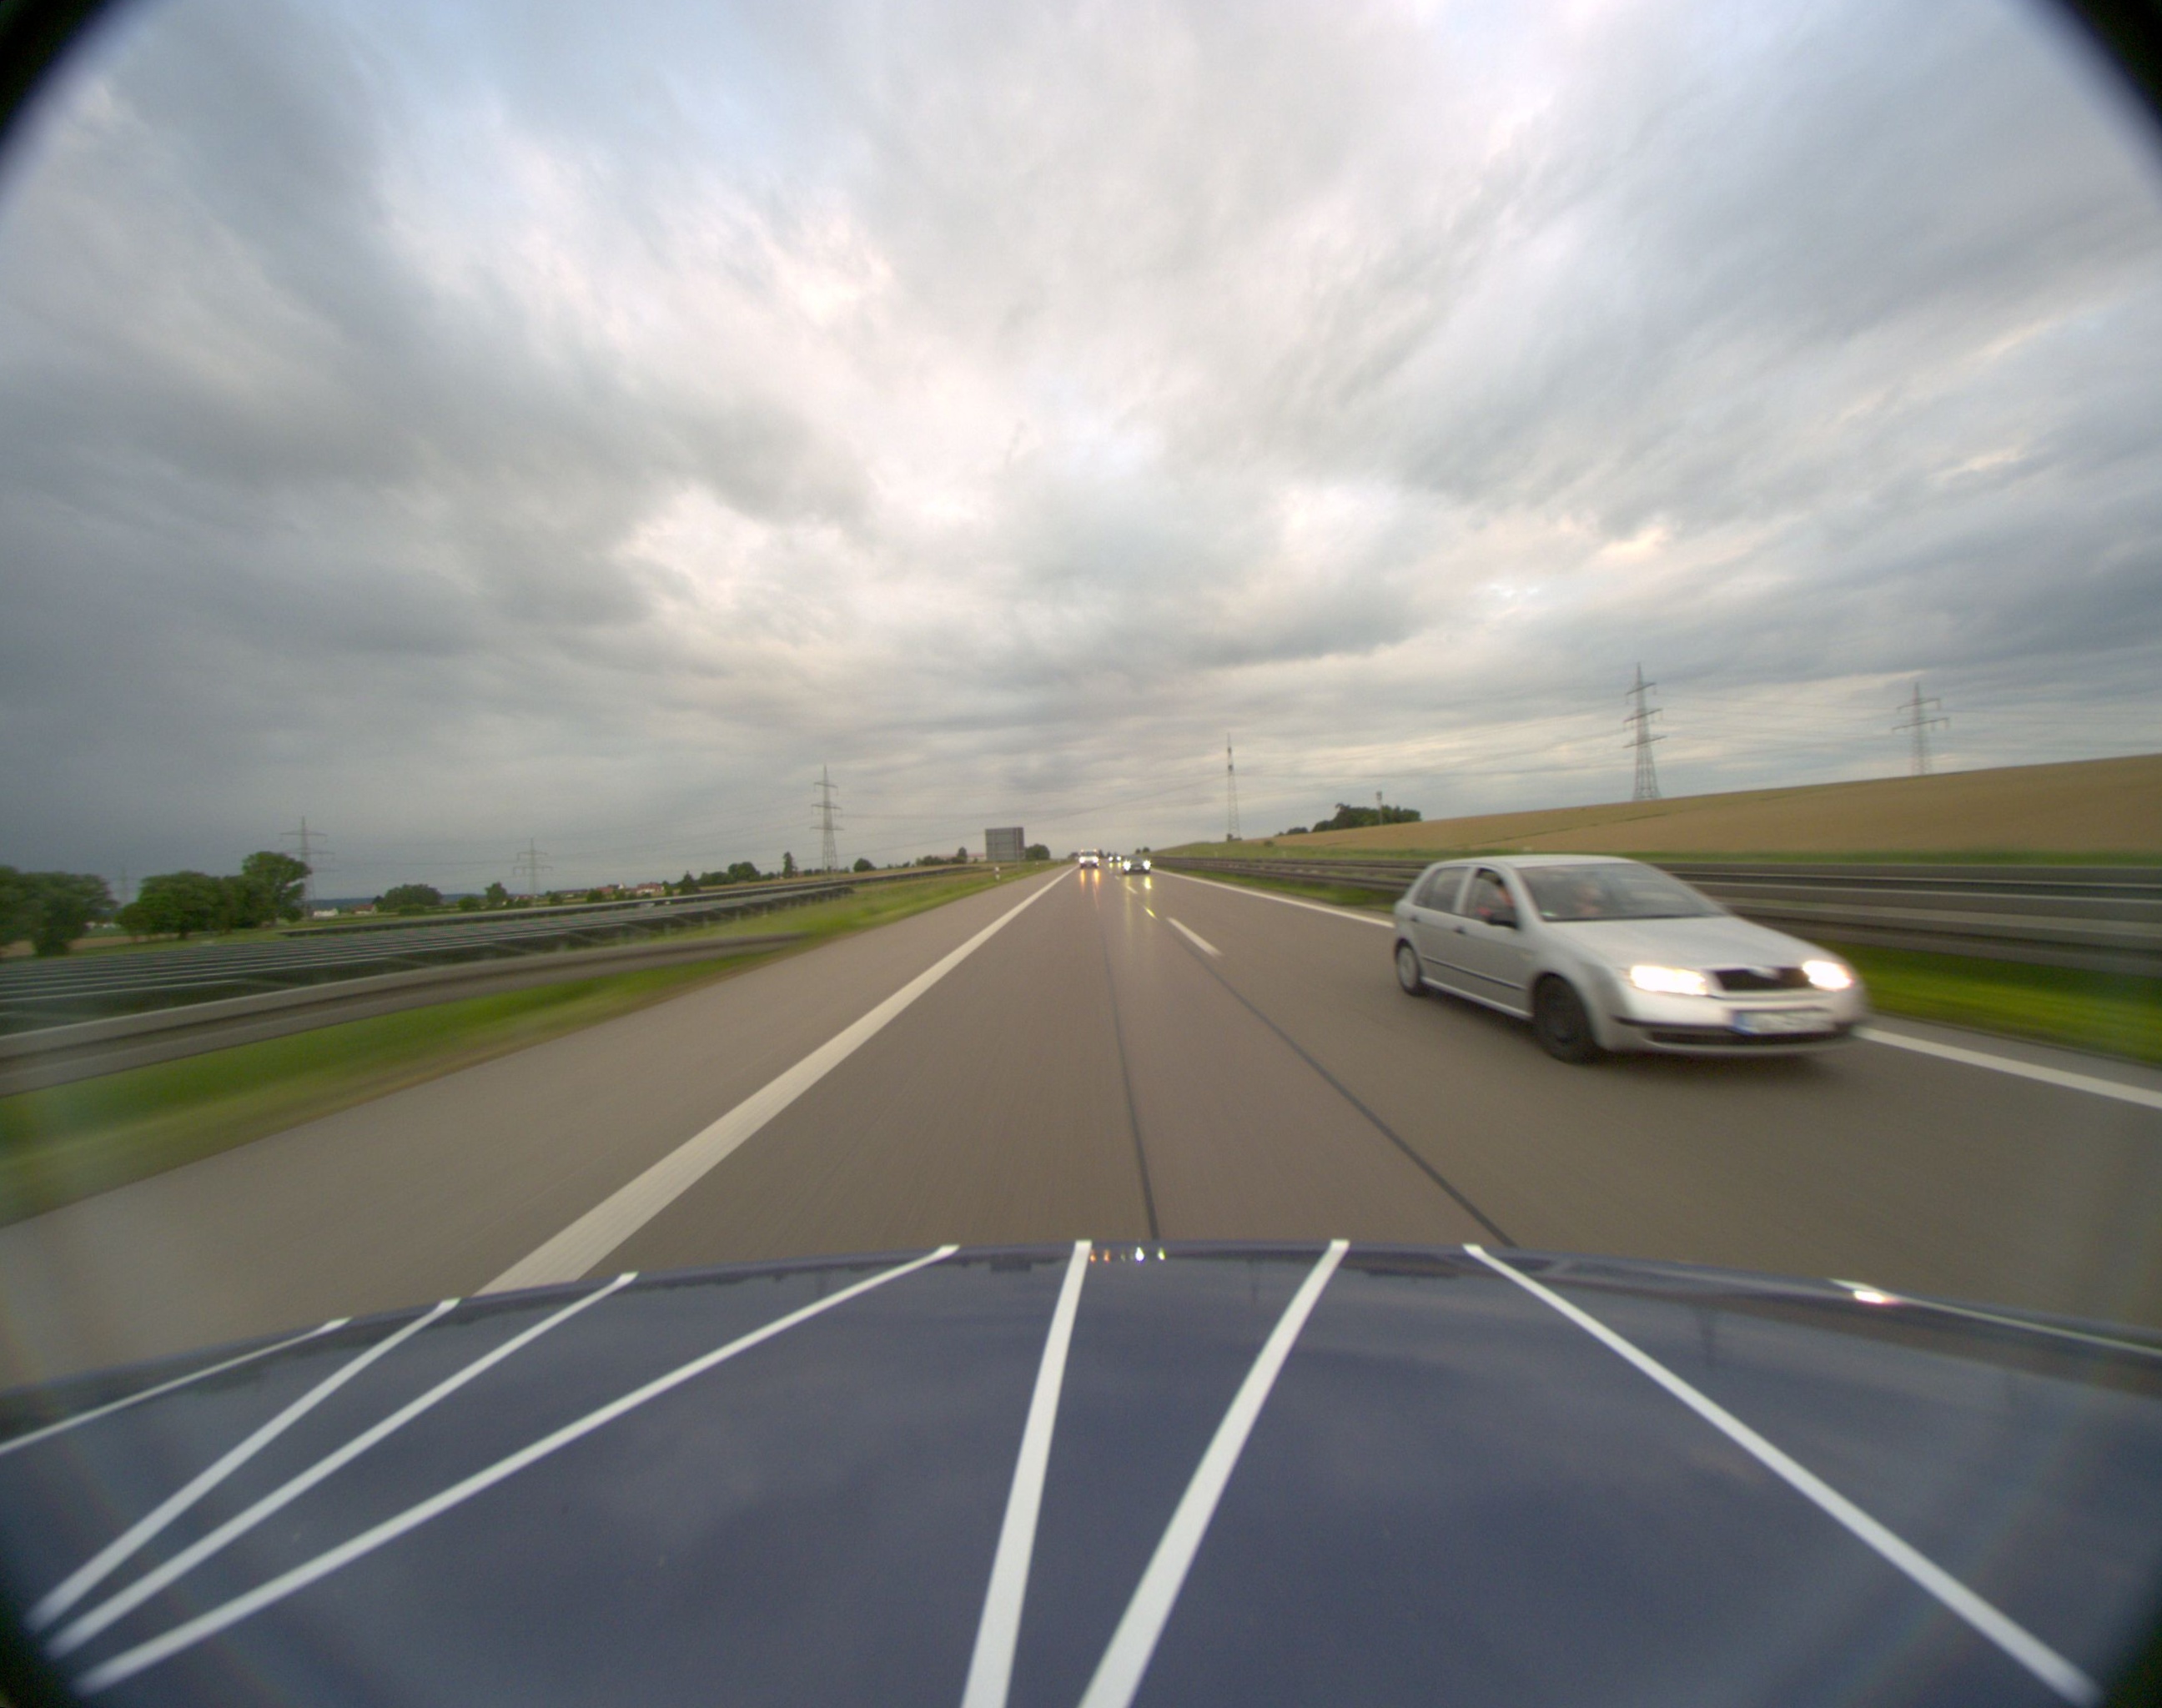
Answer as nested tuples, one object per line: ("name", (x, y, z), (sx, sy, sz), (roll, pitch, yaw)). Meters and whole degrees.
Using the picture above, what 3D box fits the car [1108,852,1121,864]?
("car", (6.282, 0.770, 141.643), (1.999, 2.002, 4.461), (-5, 0, 0))

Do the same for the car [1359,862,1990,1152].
("car", (3.955, 0.827, 6.280), (1.592, 1.381, 4.601), (-2, 0, 0))

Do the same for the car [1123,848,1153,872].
("car", (4.331, 0.443, 58.260), (1.951, 1.620, 4.536), (-4, 0, 2))

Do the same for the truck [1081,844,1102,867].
("truck", (1.196, 0.143, 88.258), (2.177, 2.346, 7.697), (-5, 0, 1))
